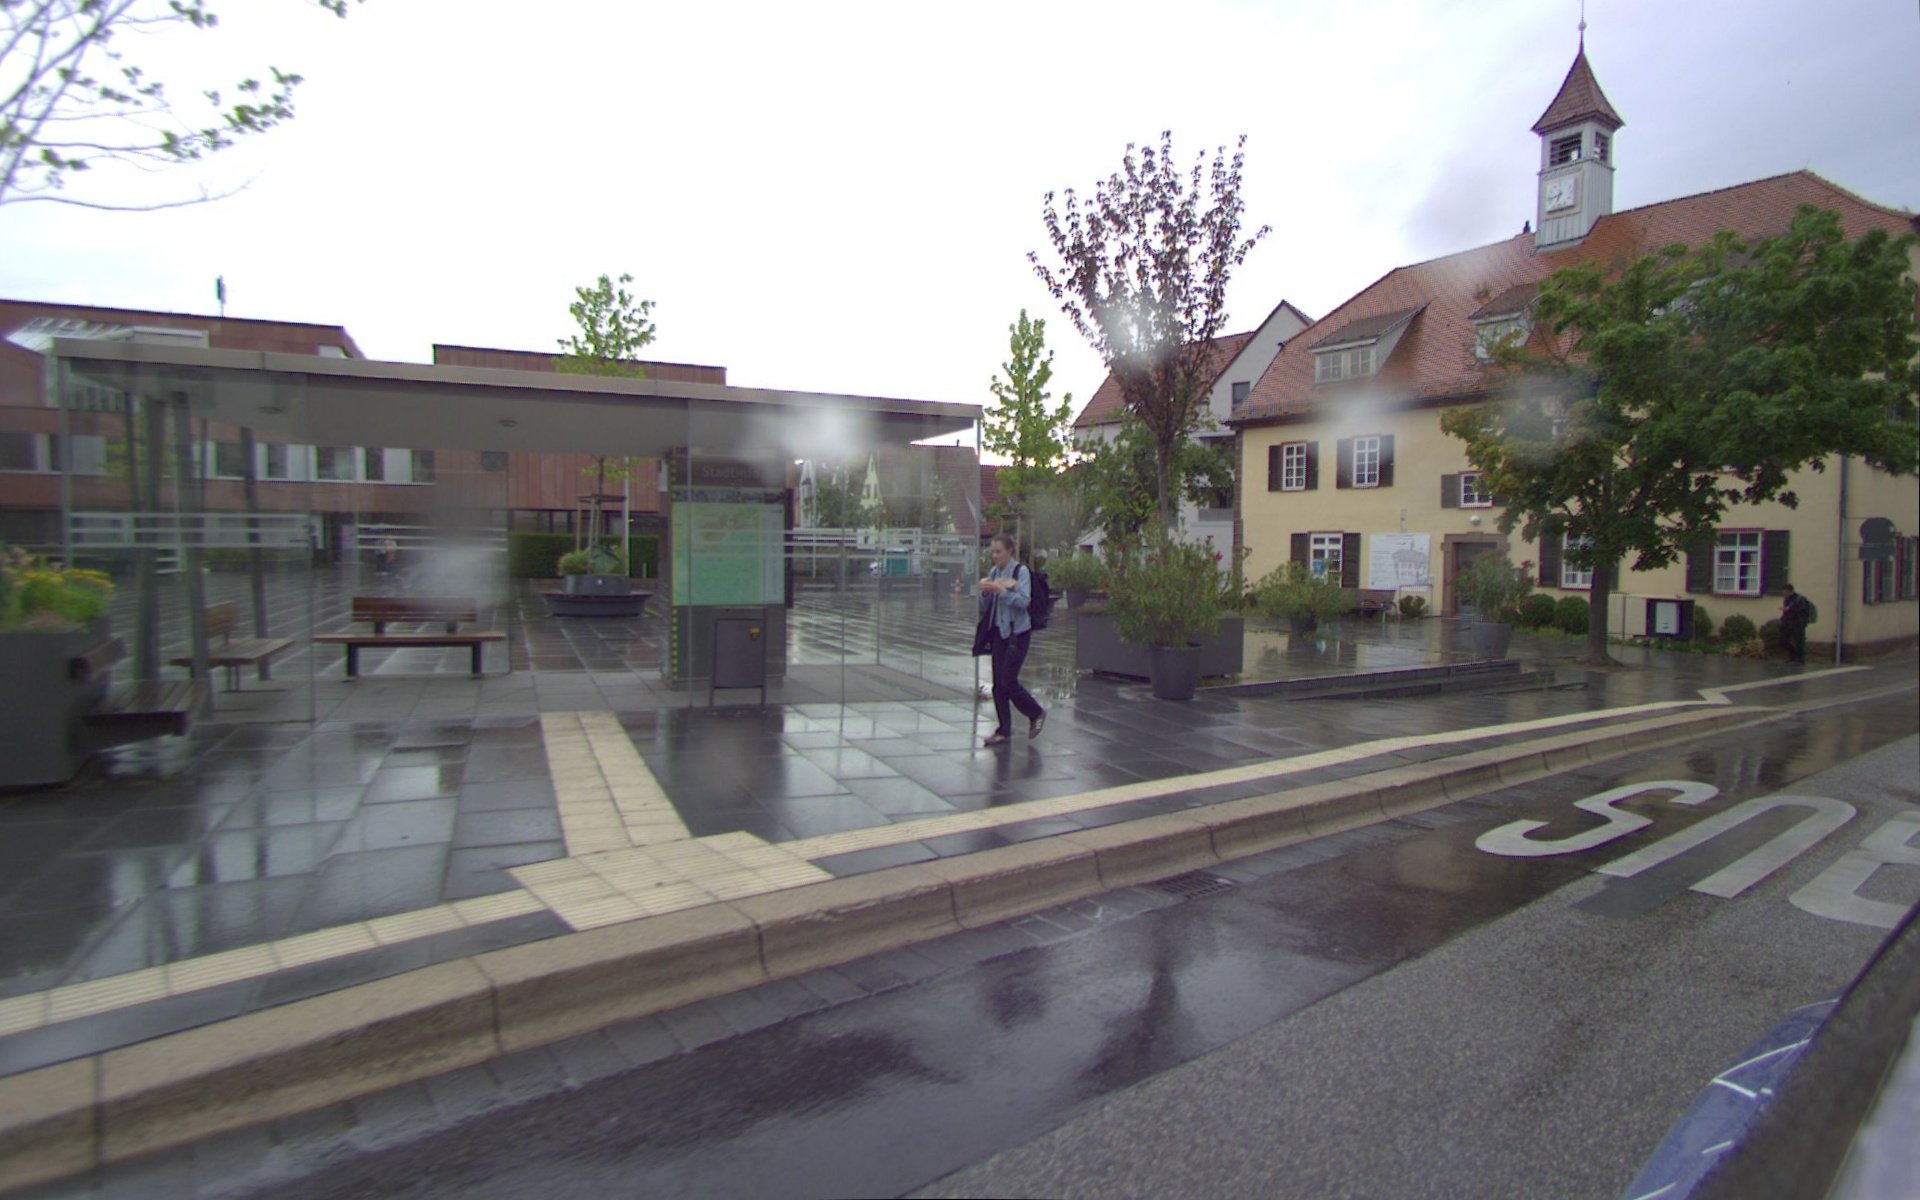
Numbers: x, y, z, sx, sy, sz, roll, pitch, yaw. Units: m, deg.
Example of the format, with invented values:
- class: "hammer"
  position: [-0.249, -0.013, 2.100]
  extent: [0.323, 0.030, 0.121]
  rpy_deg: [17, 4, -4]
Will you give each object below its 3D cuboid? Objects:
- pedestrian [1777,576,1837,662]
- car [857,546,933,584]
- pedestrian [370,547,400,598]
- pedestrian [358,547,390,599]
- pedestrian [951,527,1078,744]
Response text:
- class: "pedestrian"
  position: [17.553, 0.371, 20.977]
  extent: [0.865, 1.714, 0.705]
  rpy_deg: [3, 2, 43]
- class: "car"
  position: [-4.077, -2.173, 63.172]
  extent: [4.286, 2.244, 2.004]
  rpy_deg: [0, 3, -26]
- class: "pedestrian"
  position: [-23.656, -1.140, 41.650]
  extent: [0.720, 2.038, 0.860]
  rpy_deg: [2, 3, 10]
- class: "pedestrian"
  position: [-23.570, -1.096, 40.703]
  extent: [0.720, 2.038, 0.860]
  rpy_deg: [2, 3, 10]
- class: "pedestrian"
  position: [0.426, 0.247, 8.133]
  extent: [0.680, 1.636, 0.731]
  rpy_deg: [0, 3, -34]
